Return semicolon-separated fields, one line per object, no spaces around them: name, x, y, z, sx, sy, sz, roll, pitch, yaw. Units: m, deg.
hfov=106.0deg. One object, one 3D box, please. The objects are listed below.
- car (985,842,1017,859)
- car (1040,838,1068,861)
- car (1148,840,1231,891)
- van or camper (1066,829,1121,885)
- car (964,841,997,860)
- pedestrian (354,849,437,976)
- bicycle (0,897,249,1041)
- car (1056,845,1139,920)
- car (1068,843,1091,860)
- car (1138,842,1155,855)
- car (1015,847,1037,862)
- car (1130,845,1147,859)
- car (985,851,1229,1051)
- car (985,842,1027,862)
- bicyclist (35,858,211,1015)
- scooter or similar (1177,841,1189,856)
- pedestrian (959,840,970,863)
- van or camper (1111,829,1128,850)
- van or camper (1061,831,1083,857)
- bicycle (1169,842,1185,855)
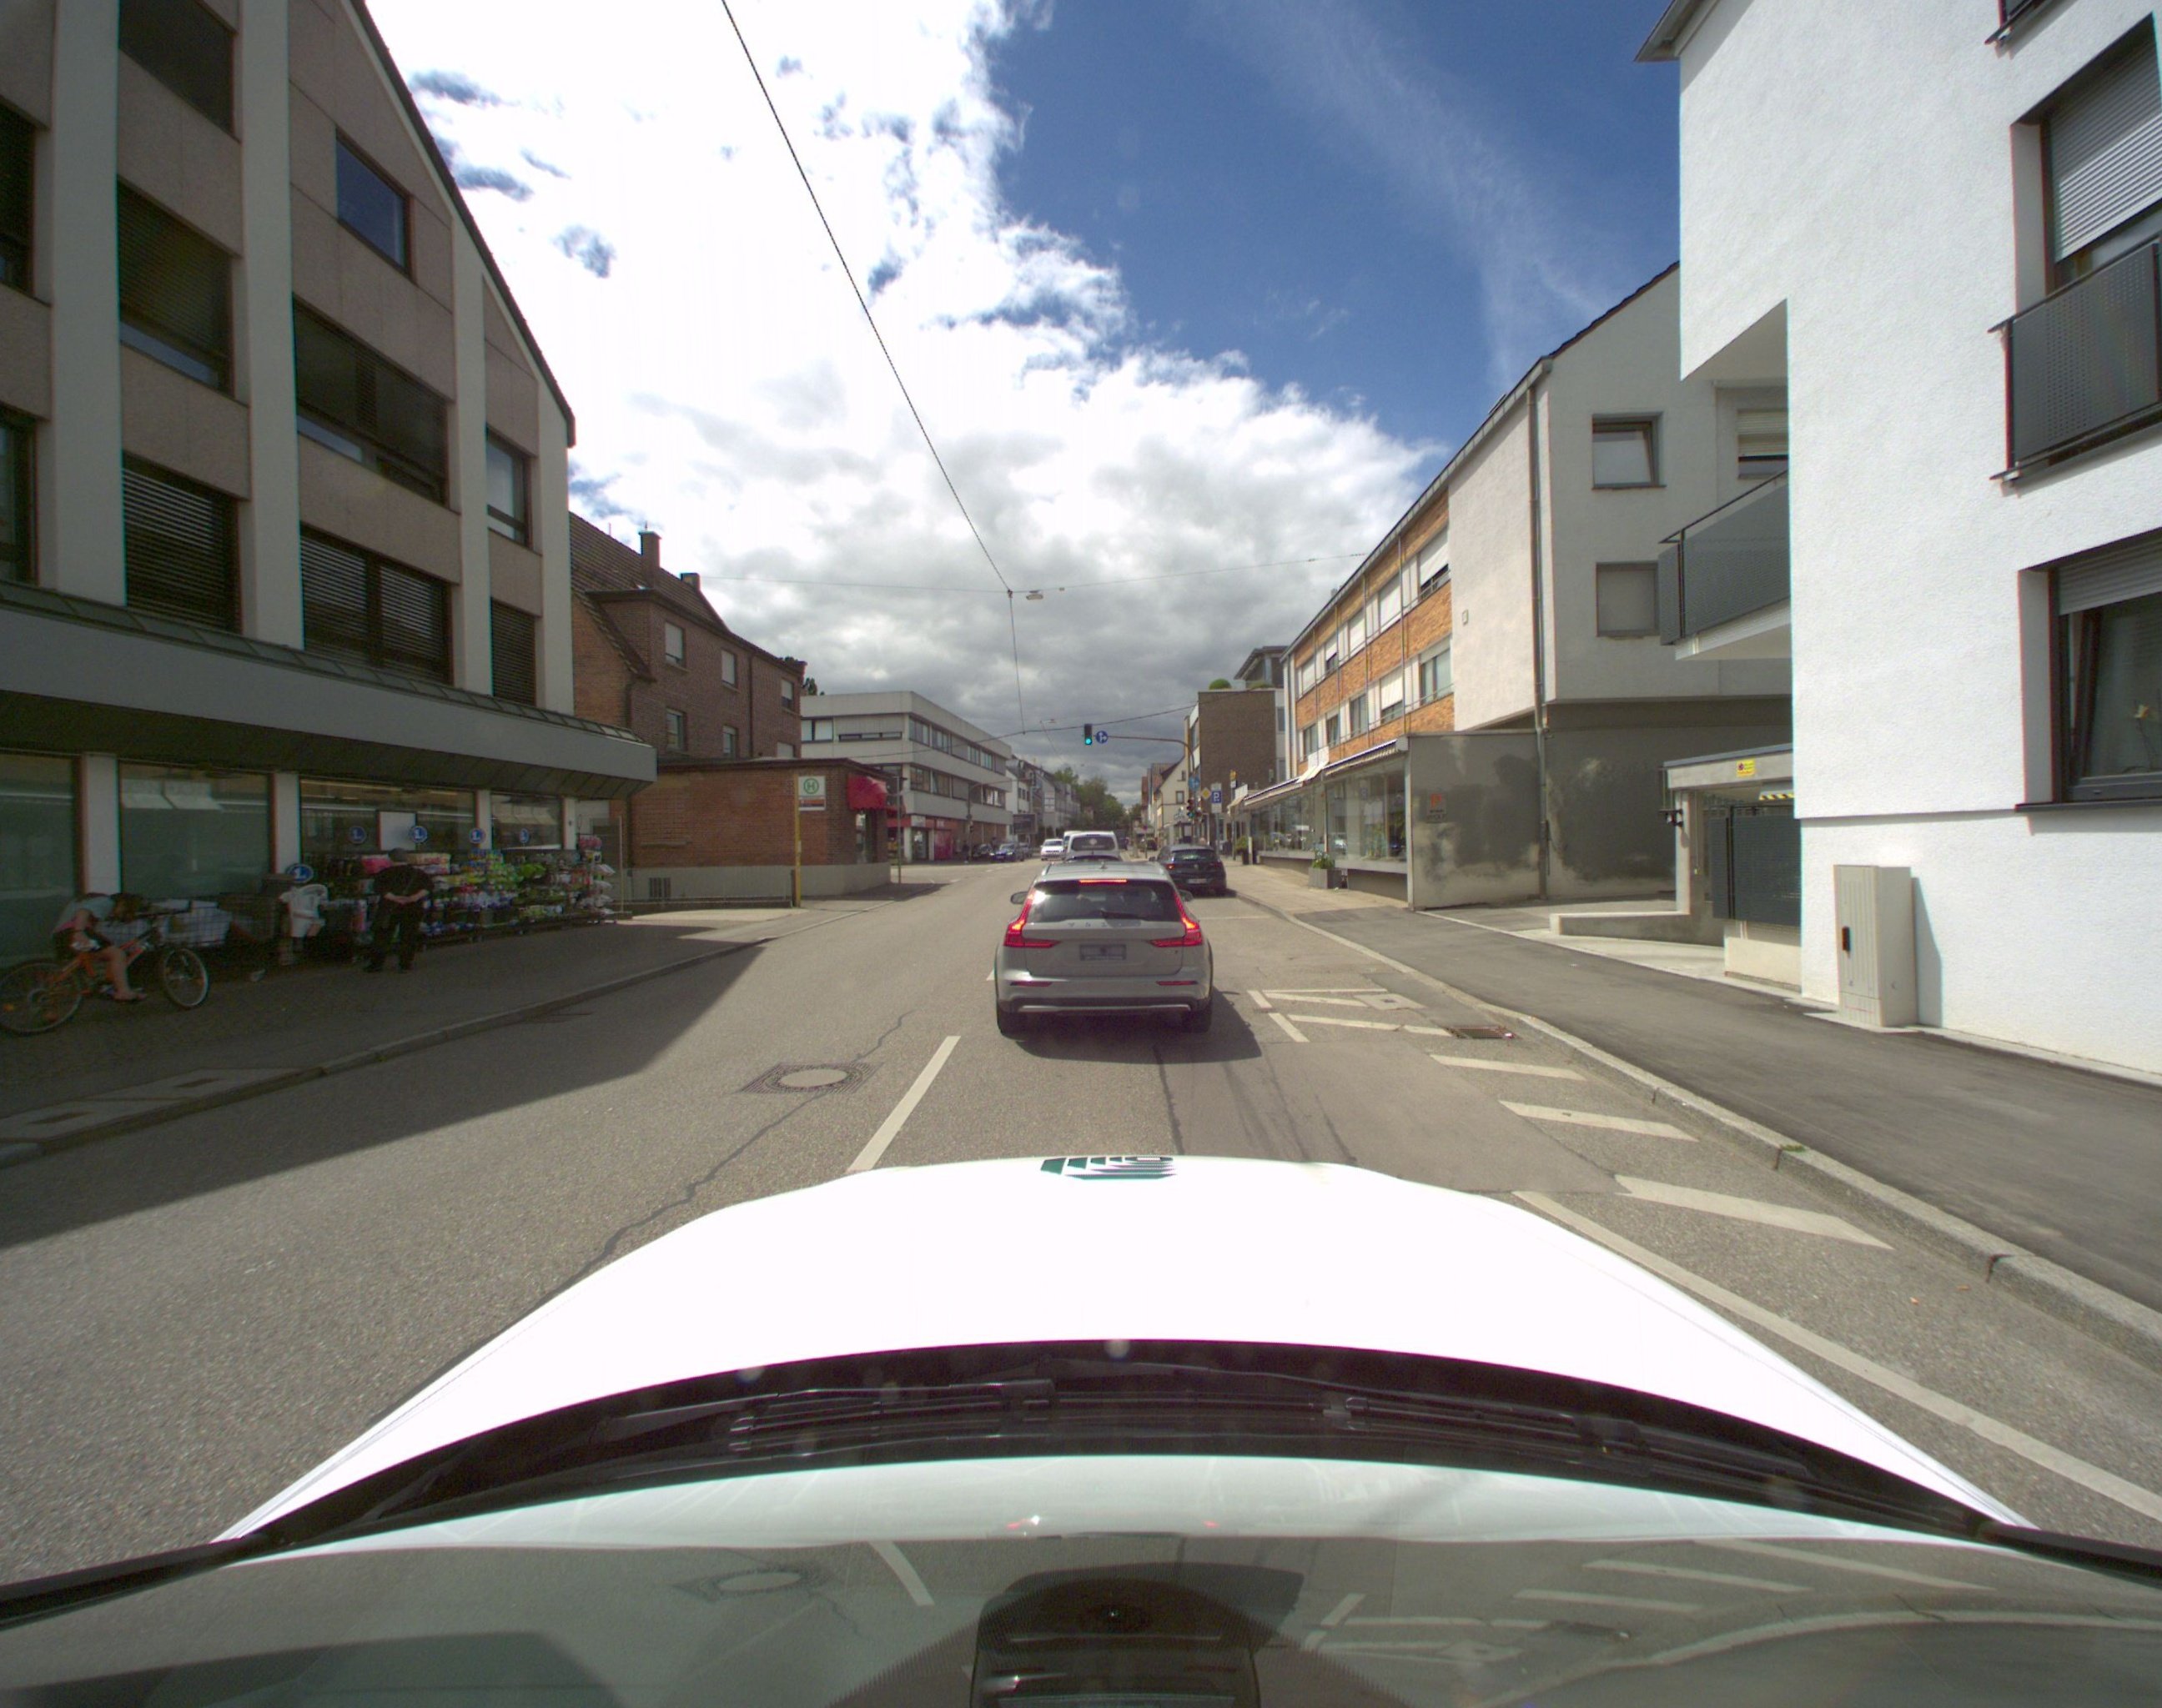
car;-7.110;-0.316;72.745;1.894;1.443;4.451;0;1;6
car;-2.047;-0.390;62.220;1.768;1.612;4.122;-3;2;2
car;3.077;0.320;23.841;1.803;1.346;3.715;-1;0;-2
van or camper;0.499;0.046;29.428;1.812;1.834;4.003;-1;2;2
car;-8.209;-0.295;66.995;1.776;1.464;4.094;0;1;6
pedestrian;-8.790;0.726;10.469;0.776;1.558;0.567;1;-2;-39
bicycle;-8.922;0.991;7.583;0.442;1.050;1.735;5;0;2
car;0.382;0.547;18.040;1.644;1.482;3.609;-1;0;2
car;-0.119;-0.229;76.695;1.782;1.511;3.850;-1;0;5
car;7.695;-0.666;95.787;1.705;1.464;3.999;-1;-1;0
car;-5.688;0.051;84.532;1.747;1.426;3.867;-1;0;5
car;5.324;-0.177;75.500;1.433;1.288;3.249;-1;0;2
car;0.257;0.743;8.191;1.829;1.486;4.001;-1;0;2
car;-5.581;-0.160;61.134;1.981;1.337;4.370;-2;1;11
bicyclist;-8.843;0.730;7.552;0.664;1.337;0.762;3;0;1
scooter or similar;8.473;-0.442;67.426;0.342;1.253;1.236;-4;0;-24
pedestrian;-8.575;-0.185;60.068;0.616;1.641;0.661;-2;1;3
van or camper;5.085;-1.928;107.793;2.114;2.686;4.785;-2;1;3
van or camper;-0.886;-1.105;86.153;2.141;2.556;5.438;-2;2;0
bicycle;8.327;-0.468;70.788;0.555;1.144;2.288;-2;1;-15
